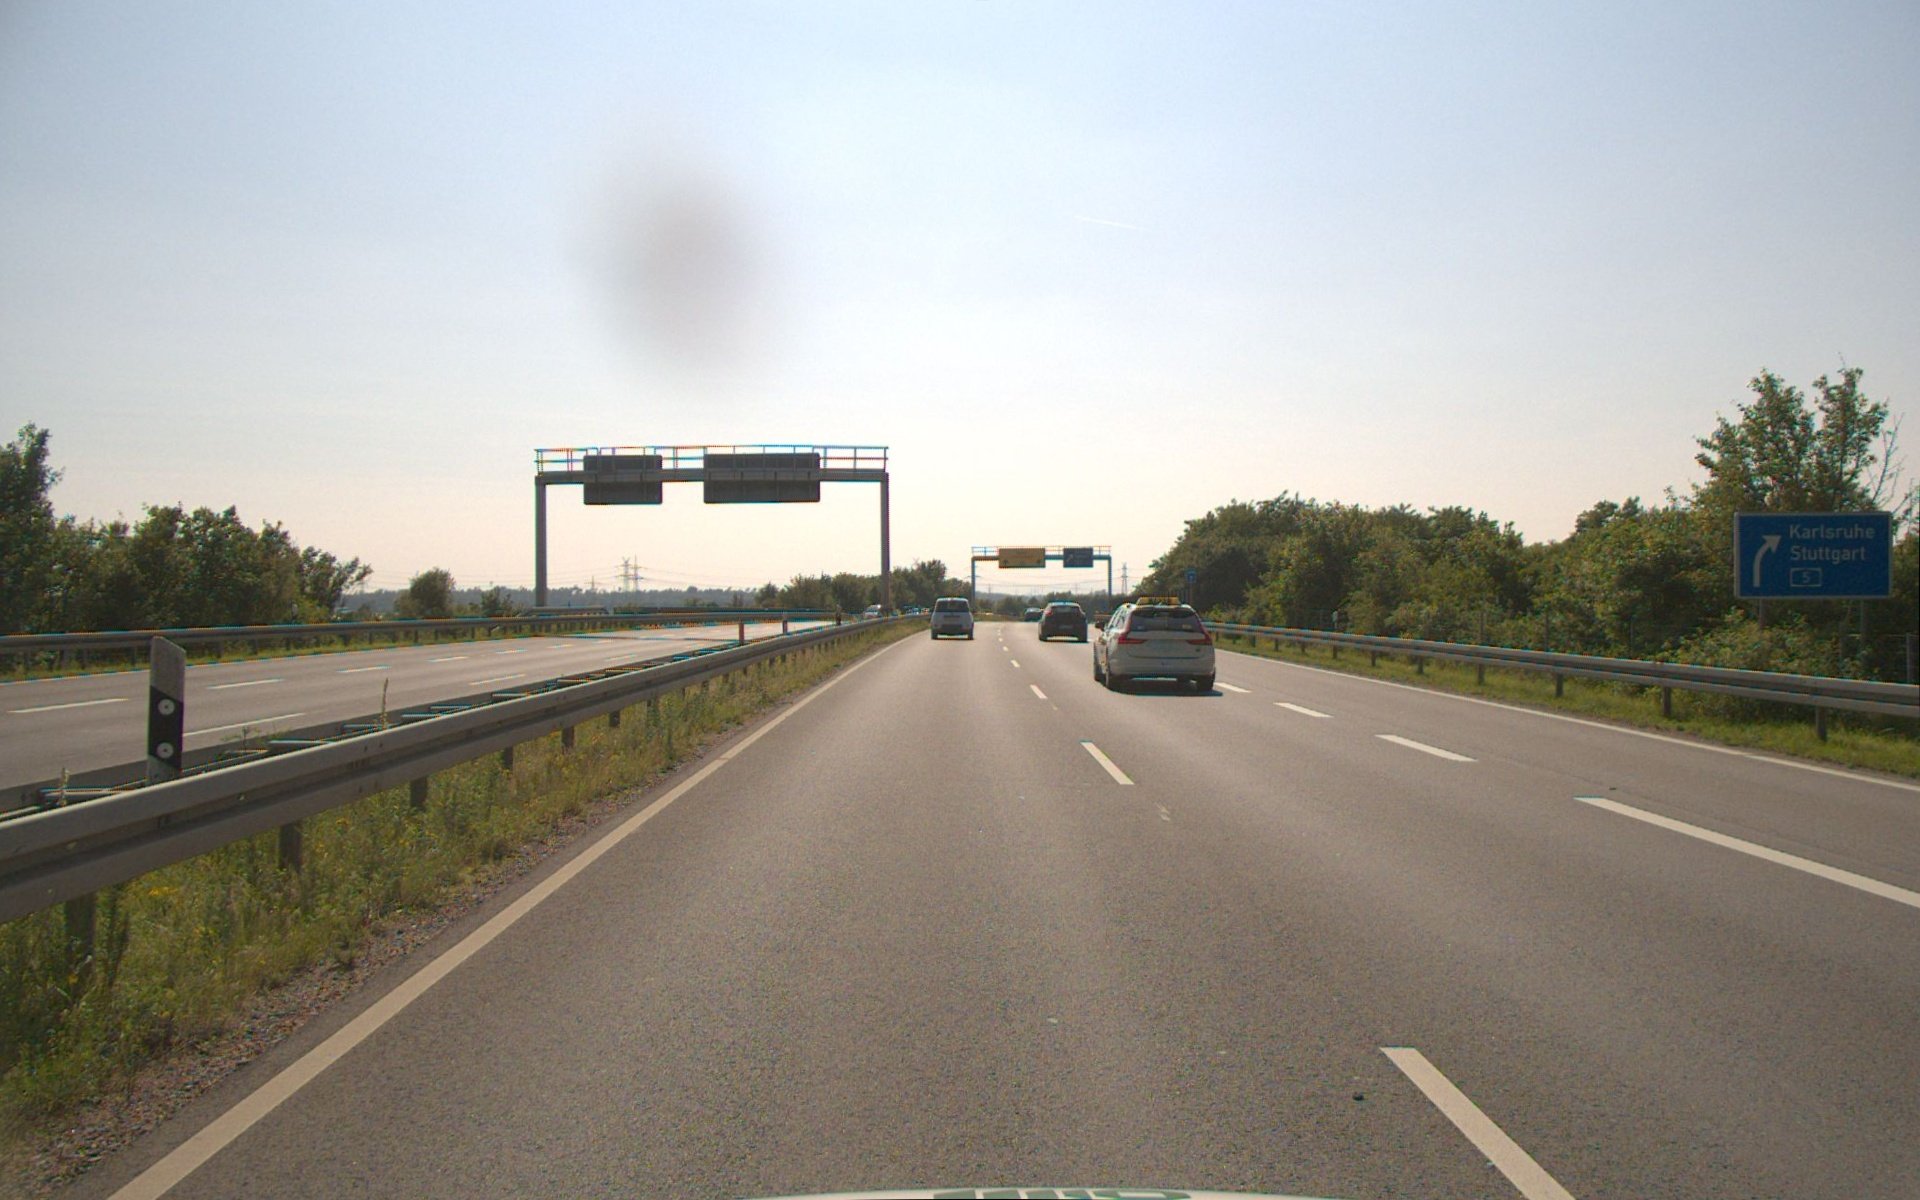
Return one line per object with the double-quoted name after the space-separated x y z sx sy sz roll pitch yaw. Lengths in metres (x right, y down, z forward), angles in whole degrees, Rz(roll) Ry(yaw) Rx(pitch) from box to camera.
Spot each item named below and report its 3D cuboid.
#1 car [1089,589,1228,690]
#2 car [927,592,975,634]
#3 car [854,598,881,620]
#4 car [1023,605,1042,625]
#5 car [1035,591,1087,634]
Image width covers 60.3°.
3.455 0.655 29.547 1.918 1.629 4.106 1 0 -1 "car"
-0.323 0.510 63.904 1.756 1.529 4.043 -1 -1 1 "car"
-6.466 0.639 116.021 1.675 1.512 4.265 1 0 0 "car"
7.781 1.620 178.038 1.952 2.049 4.000 1 0 1 "car"
3.798 0.487 62.471 1.756 1.570 3.671 1 -1 1 "car"
